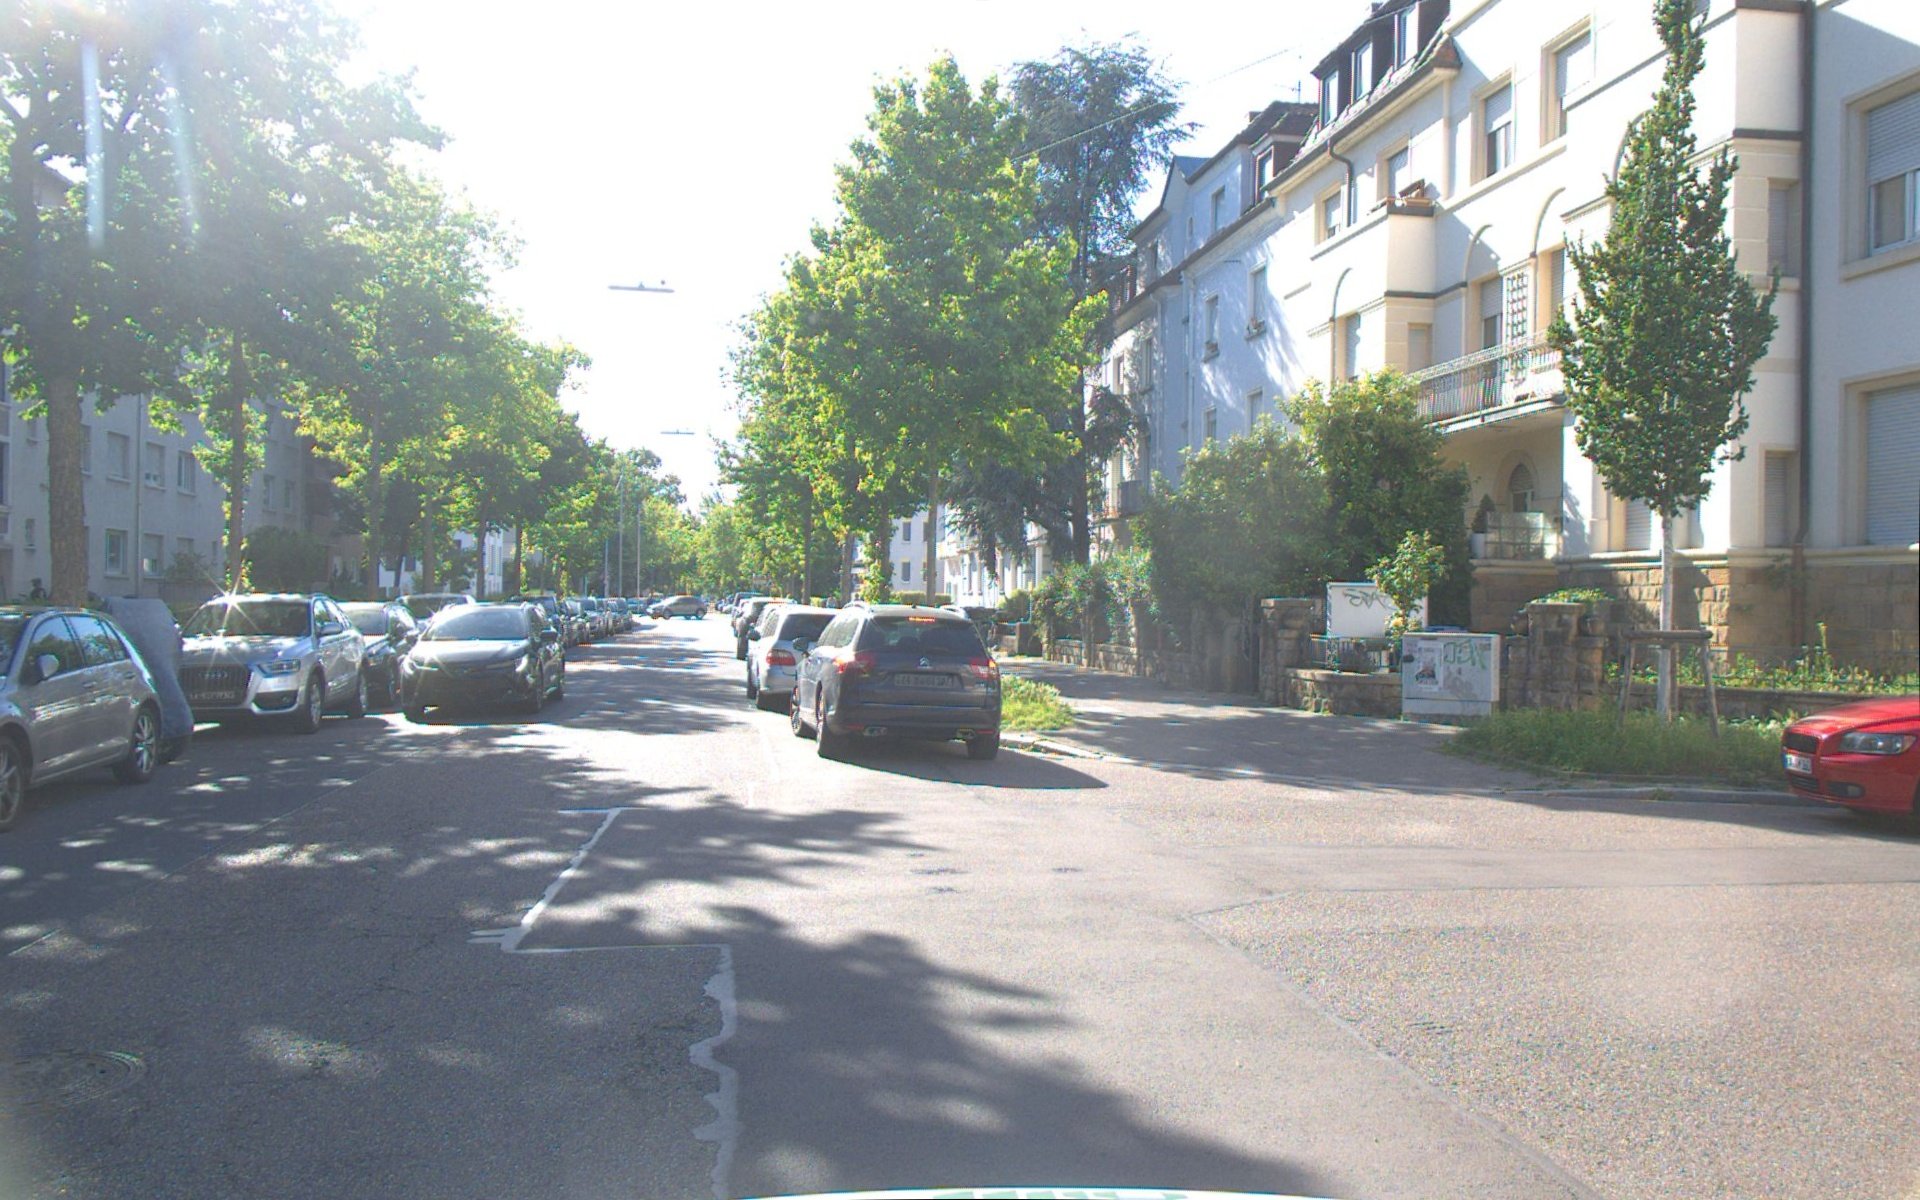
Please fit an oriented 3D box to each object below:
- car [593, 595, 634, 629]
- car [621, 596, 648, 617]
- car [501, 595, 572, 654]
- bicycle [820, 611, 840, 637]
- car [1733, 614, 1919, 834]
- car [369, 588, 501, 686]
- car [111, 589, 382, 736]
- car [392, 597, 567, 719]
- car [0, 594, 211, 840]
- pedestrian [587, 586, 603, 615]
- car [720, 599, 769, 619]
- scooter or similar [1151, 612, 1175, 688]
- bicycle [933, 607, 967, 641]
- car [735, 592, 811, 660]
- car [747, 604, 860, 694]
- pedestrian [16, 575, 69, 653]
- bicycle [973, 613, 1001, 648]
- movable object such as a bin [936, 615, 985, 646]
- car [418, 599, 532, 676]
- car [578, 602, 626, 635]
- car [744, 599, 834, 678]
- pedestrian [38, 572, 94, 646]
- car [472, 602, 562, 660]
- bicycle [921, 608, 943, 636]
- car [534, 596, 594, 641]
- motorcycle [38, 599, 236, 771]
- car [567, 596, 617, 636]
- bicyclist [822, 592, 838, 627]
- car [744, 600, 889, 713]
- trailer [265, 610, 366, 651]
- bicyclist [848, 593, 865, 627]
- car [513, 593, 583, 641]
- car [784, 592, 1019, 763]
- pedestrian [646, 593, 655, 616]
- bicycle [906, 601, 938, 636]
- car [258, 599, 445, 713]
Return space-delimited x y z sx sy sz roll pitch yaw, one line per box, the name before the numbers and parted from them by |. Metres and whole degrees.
car | -17.562 0.603 83.917 1.806 1.623 4.253 -1 0 -9
car | -26.973 0.568 137.128 1.956 1.700 3.992 0 0 -8
car | -12.428 0.681 48.740 1.758 1.594 4.453 -2 0 -11
bicycle | -6.086 1.093 77.261 0.671 1.173 2.396 0 0 -11
car | 8.387 0.871 12.046 4.618 1.495 1.954 1 -1 6
car | -9.909 0.655 31.509 1.697 1.646 4.357 -3 0 -9
car | -8.368 0.652 19.880 2.027 1.551 4.709 0 0 -11
car | -6.509 0.720 22.823 1.776 1.471 4.357 -1 0 -9
car | -7.301 0.735 12.137 2.004 1.551 4.598 0 0 -7
pedestrian | -25.362 0.035 114.895 0.841 2.049 0.981 0 0 0
car | -17.750 0.710 136.059 3.917 1.615 1.721 0 0 -13
scooter or similar | 3.362 0.811 27.426 0.393 1.205 1.206 0 1 7
bicycle | -0.363 0.803 56.585 0.789 1.135 1.995 1 0 -11
car | -5.159 0.675 45.481 1.889 1.680 5.087 3 0 -7
car | -2.946 0.837 30.363 1.679 1.435 4.850 2 0 -10
pedestrian | -23.383 0.355 42.164 0.764 1.947 0.879 0 0 18
bicycle | 0.762 0.869 47.742 0.570 0.992 1.900 0 0 -7
movable object such as a bin | 0.015 0.926 51.169 1.195 0.920 1.666 0 0 12
car | -10.704 0.773 36.780 1.696 1.503 4.610 -3 0 -8
car | -16.827 0.852 77.898 1.957 1.478 4.253 -2 0 -9
car | -3.776 0.797 36.018 1.624 1.559 3.960 3 0 -10
pedestrian | -23.409 0.232 43.312 0.914 1.921 1.025 0 0 -2
car | -11.624 0.774 43.661 1.746 1.403 4.255 -1 0 -8
bicycle | -1.054 0.805 61.071 0.584 0.974 1.900 0 0 -8
car | -13.931 0.634 58.301 1.729 1.469 3.900 -1 0 -9
motorcycle | -7.950 0.762 15.928 2.194 1.530 0.984 0 0 42
car | -15.411 0.639 69.319 1.678 1.571 3.923 -2 0 -8
bicyclist | -6.064 0.447 77.210 0.665 1.638 0.919 0 0 -12
car | -2.308 0.790 25.423 1.788 1.495 4.898 2 0 -10
trailer | -17.458 0.811 44.961 1.754 1.052 3.277 1 0 -6
bicyclist | -4.839 0.480 77.018 0.664 1.580 1.019 0 0 -12
car | -13.307 0.541 53.604 1.795 1.478 4.114 0 0 -9
car | -0.789 0.756 17.767 1.861 1.551 4.955 1 -1 -10
pedestrian | -25.817 0.355 137.979 0.704 1.933 0.832 0 0 -18
bicycle | -1.480 0.704 63.430 0.823 1.279 2.224 1 0 -12
car | -9.055 0.765 25.011 1.696 1.472 4.810 -2 1 -9
